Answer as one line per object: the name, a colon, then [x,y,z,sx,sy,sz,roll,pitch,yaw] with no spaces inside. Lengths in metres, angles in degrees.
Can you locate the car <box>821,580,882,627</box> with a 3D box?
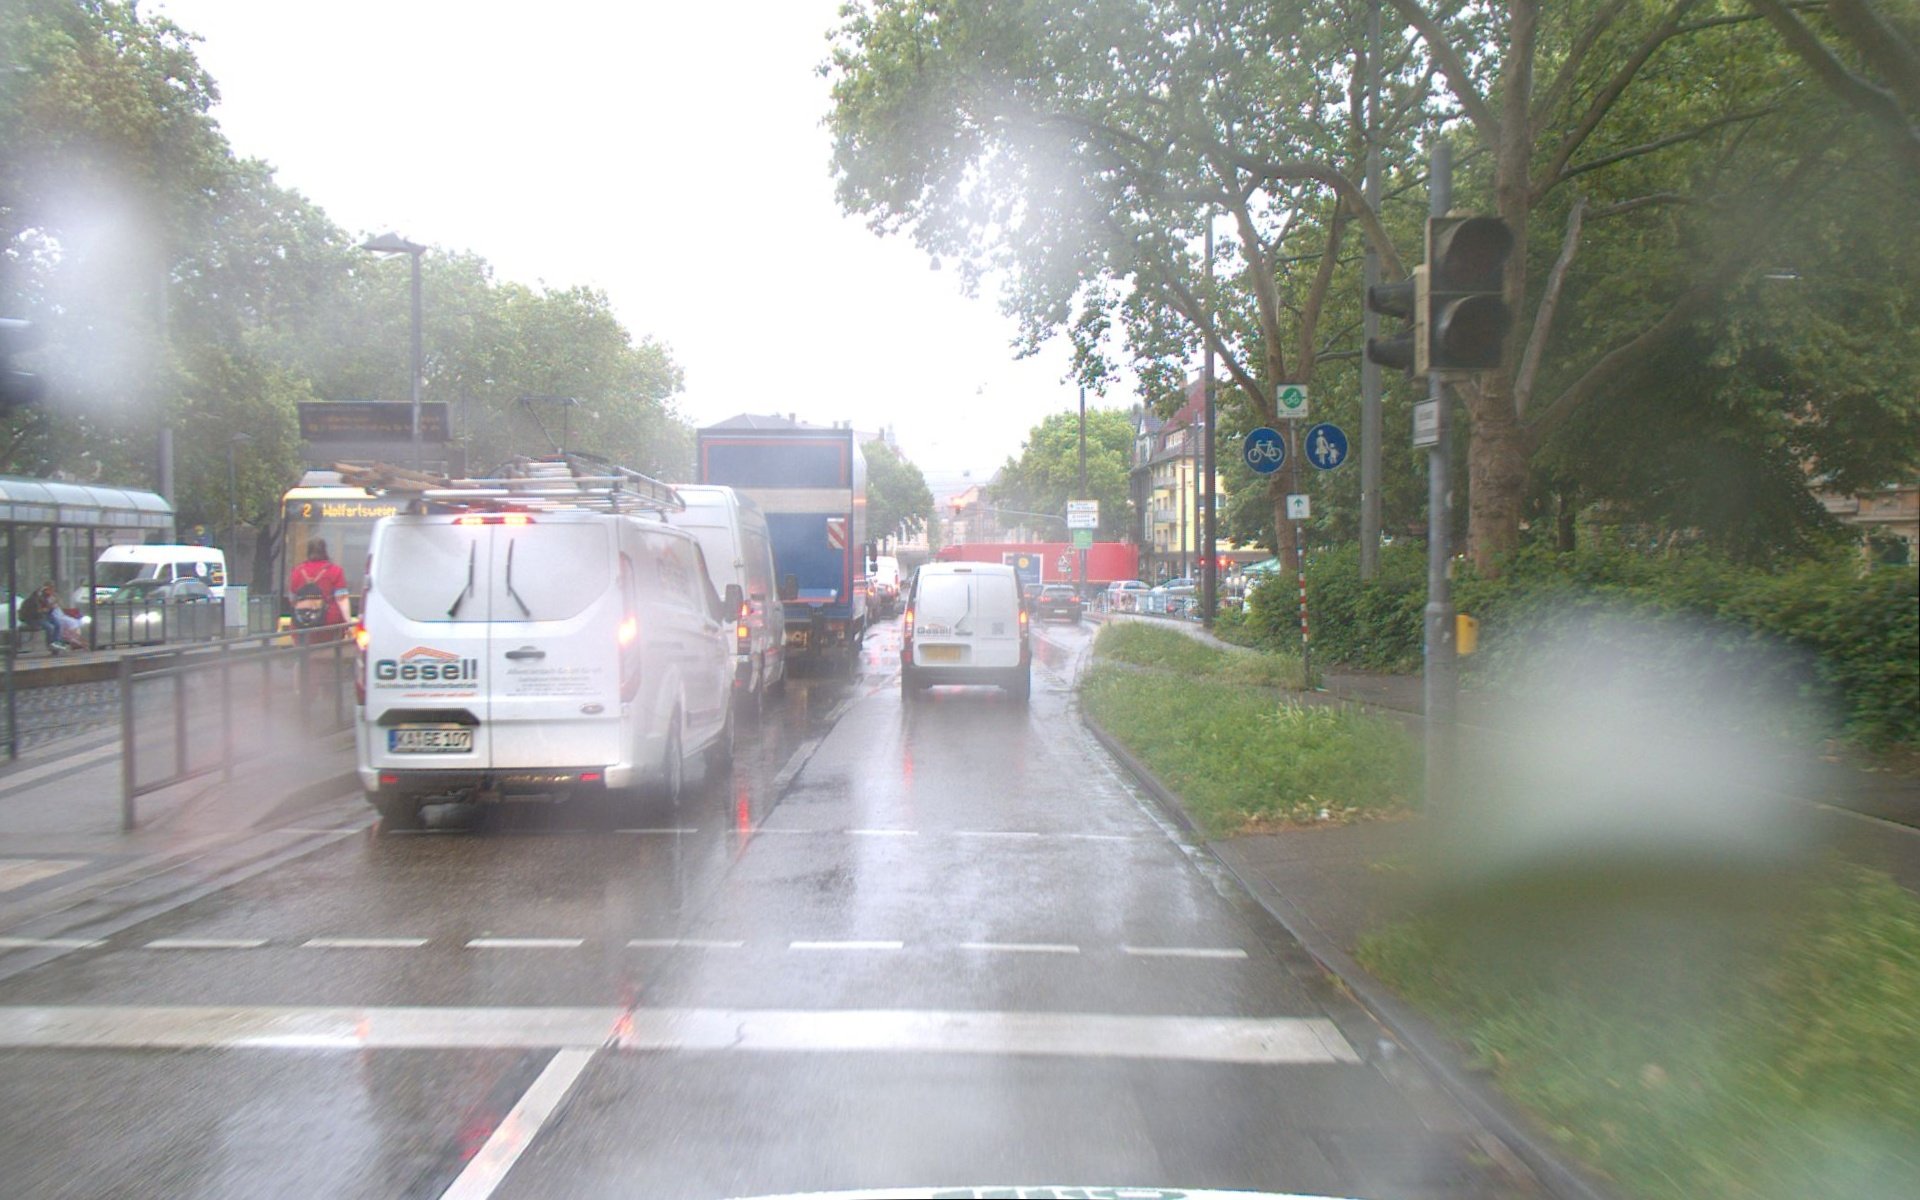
car: [-3.932,0.111,60.616,1.953,1.606,4.291,1,0,-1]

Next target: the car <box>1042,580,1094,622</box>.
car: [4.171,0.041,64.016,1.952,1.569,4.002,0,0,3]

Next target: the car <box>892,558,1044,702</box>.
car: [0.081,0.394,22.792,1.919,1.808,3.569,0,-1,-1]

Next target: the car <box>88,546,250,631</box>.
car: [-22.263,-0.342,46.824,1.952,2.262,5.226,0,1,1]

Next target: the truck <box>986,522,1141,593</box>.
truck: [7.768,-3.175,124.368,11.137,4.985,3.287,-1,1,25]

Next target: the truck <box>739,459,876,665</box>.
truck: [-3.058,-0.755,34.073,2.528,3.972,3.999,0,0,-2]

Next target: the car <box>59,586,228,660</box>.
car: [-19.049,0.486,38.791,1.953,1.608,4.000,-1,0,0]

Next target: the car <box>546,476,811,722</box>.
car: [-3.275,0.018,20.694,2.282,2.602,6.113,0,-1,0]

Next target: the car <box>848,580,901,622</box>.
car: [-3.441,0.047,67.122,1.953,1.606,4.291,1,0,-1]

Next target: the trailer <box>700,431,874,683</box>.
trailer: [-2.936,-0.713,29.985,2.538,3.968,7.634,0,0,-2]

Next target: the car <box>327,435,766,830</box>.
car: [-2.735,0.216,12.352,1.953,2.302,5.288,0,-1,0]

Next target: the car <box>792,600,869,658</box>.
car: [-3.762,0.810,48.588,1.953,1.498,4.266,1,1,-1]

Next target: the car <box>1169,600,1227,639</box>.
car: [10.377,0.810,72.309,1.786,1.516,4.352,-2,1,-2]

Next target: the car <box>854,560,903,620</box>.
car: [-3.548,-0.424,72.640,1.953,2.485,4.611,1,0,-1]

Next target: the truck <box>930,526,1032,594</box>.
truck: [1.630,-3.077,127.343,7.015,4.985,3.287,-1,1,25]

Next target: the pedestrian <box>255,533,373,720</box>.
pedestrian: [-6.236,0.256,16.002,0.774,1.744,0.770,2,-1,-1]

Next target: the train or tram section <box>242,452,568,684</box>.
train or tram section: [-9.155,-0.566,28.539,2.901,3.342,8.359,-1,1,-1]

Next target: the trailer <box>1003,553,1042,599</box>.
trailer: [3.433,-1.286,90.005,1.952,2.357,4.670,0,-1,4]
